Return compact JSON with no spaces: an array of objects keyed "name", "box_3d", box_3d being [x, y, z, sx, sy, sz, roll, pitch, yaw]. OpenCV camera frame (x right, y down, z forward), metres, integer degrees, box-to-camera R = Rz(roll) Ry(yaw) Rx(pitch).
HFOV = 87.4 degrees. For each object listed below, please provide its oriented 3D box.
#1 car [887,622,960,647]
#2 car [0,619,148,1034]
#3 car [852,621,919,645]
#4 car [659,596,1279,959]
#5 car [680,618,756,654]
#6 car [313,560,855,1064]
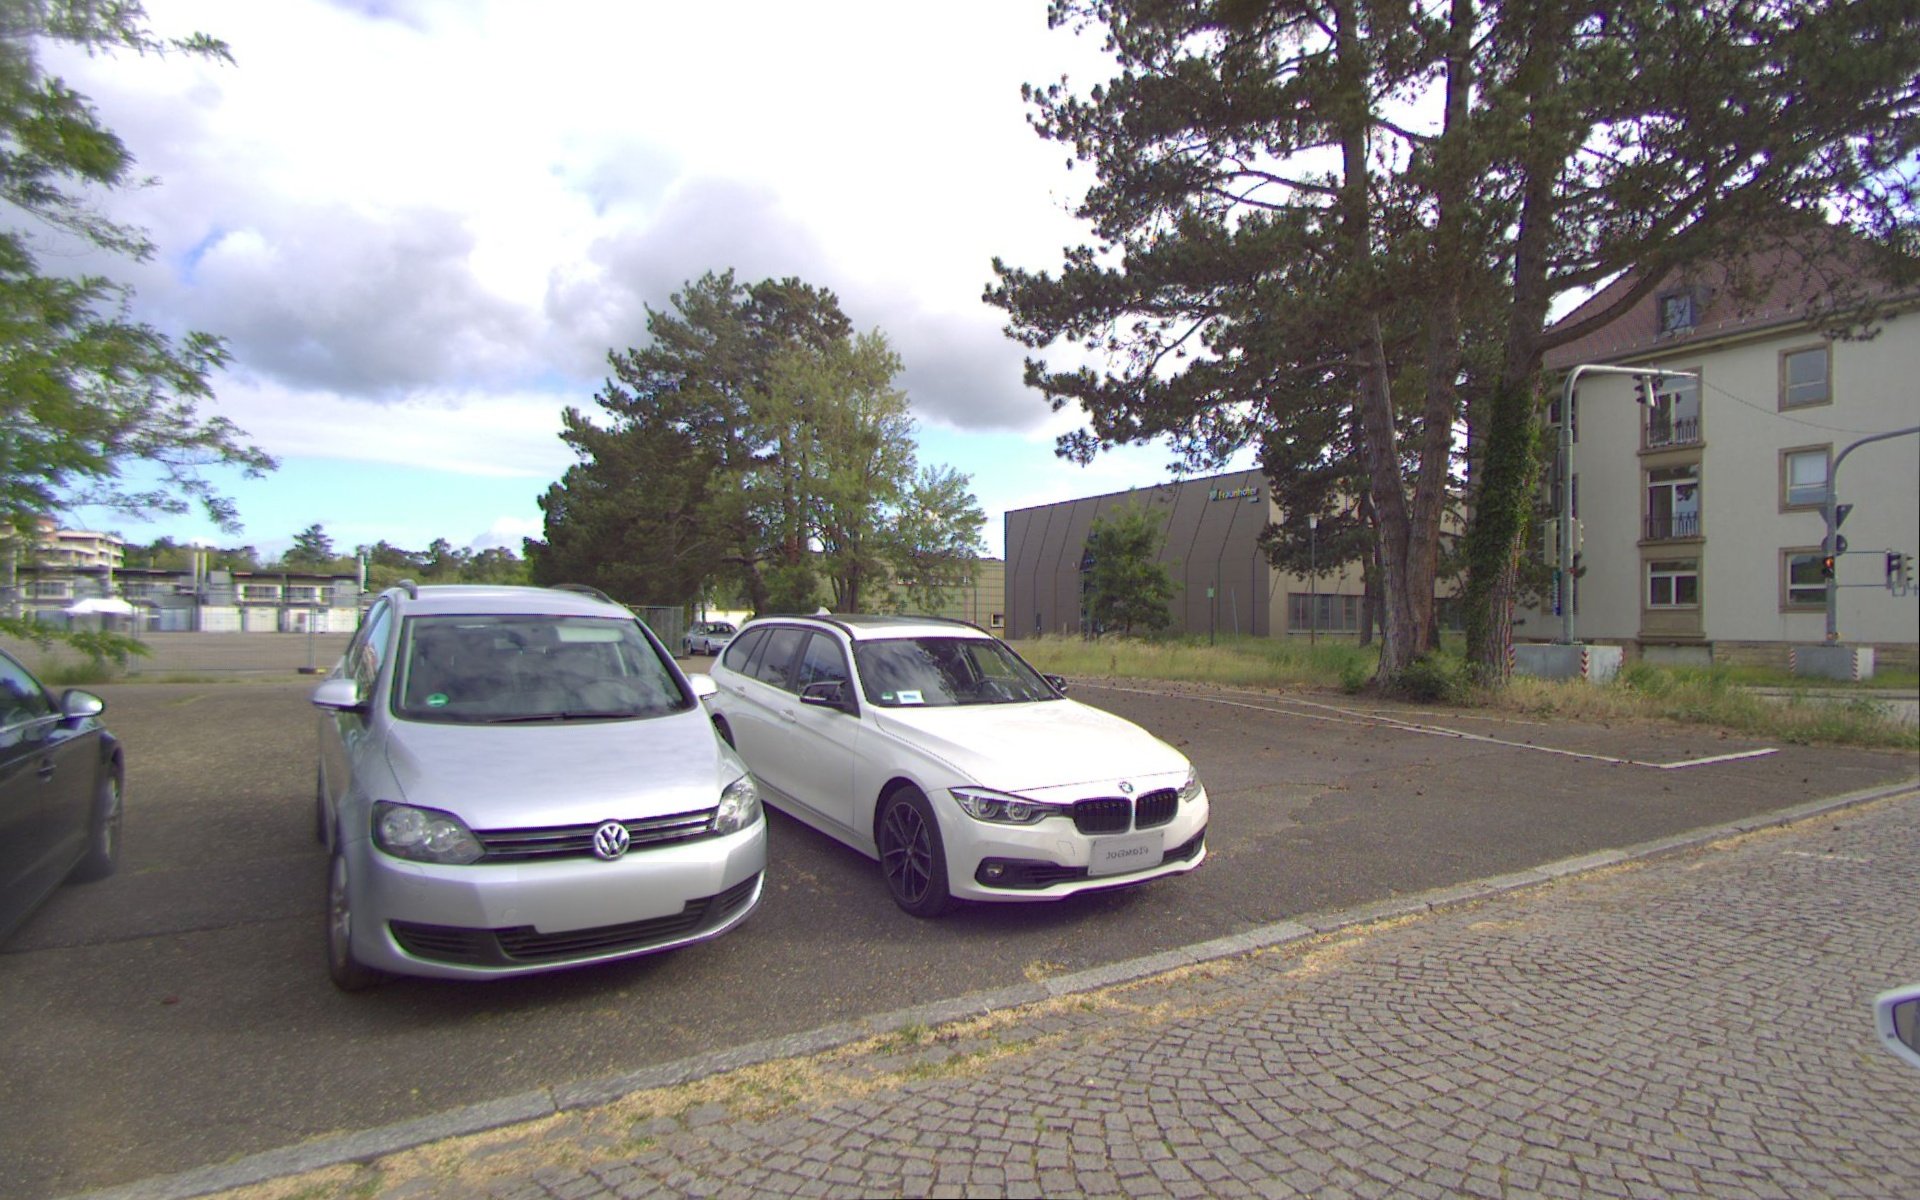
[{"name":"car","box_3d":[-2.370,2.243,66.175,4.486,1.552,1.981,0,-1,-34]},{"name":"car","box_3d":[-4.647,0.785,3.838,1.865,1.441,4.594,1,-2,-33]},{"name":"car","box_3d":[-5.394,2.370,72.957,4.479,1.552,1.984,0,0,-31]},{"name":"car","box_3d":[-0.393,0.785,6.901,1.893,1.459,4.776,1,1,-34]},{"name":"car","box_3d":[-10.672,1.550,44.045,1.905,1.496,4.329,2,-2,-33]},{"name":"car","box_3d":[-2.445,0.666,5.577,1.828,1.611,4.445,1,0,-34]}]
